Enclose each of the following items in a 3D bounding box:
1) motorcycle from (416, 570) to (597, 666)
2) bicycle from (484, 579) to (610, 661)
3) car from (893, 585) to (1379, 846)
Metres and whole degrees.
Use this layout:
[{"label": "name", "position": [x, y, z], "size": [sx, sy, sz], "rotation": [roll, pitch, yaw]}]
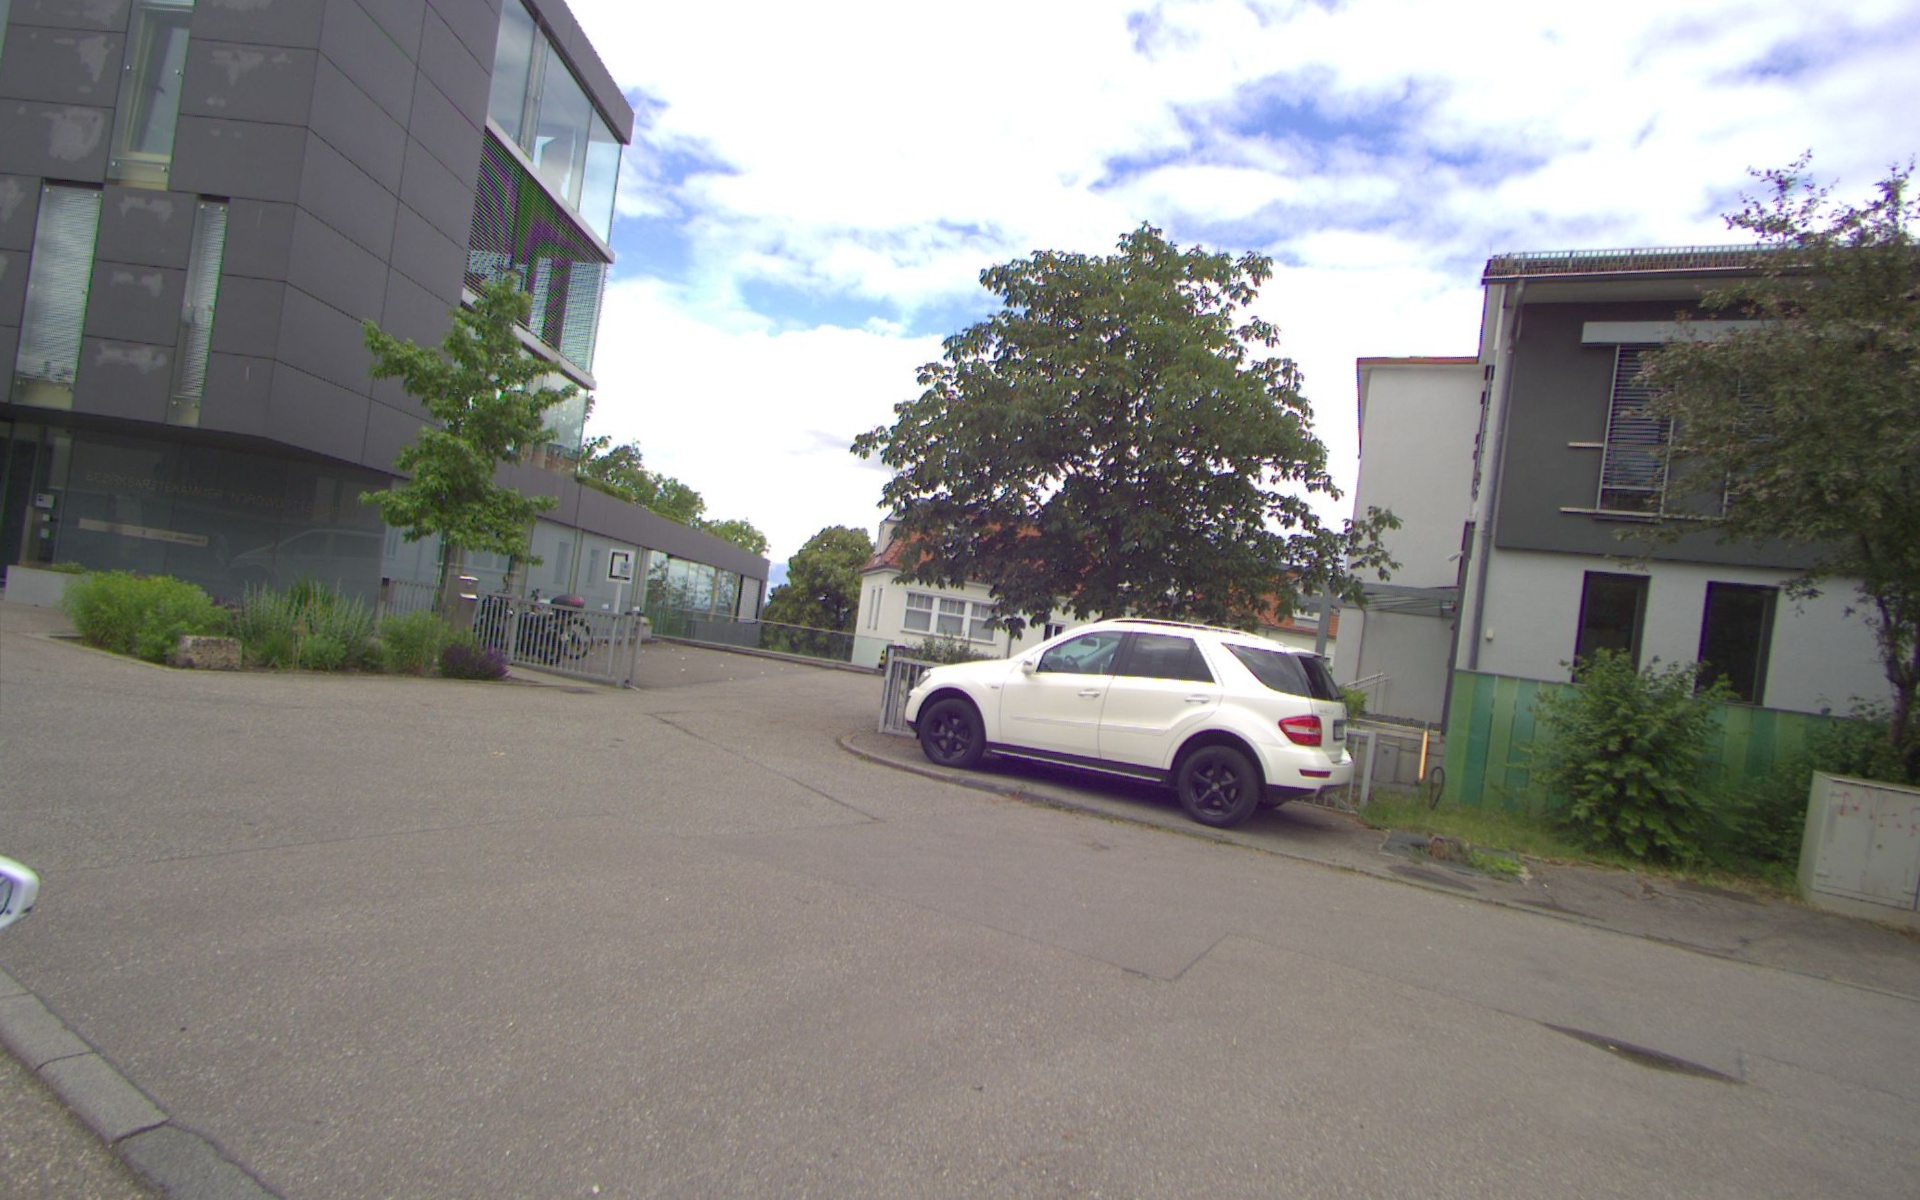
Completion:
[{"label": "motorcycle", "position": [-7.848, 0.314, 17.467], "size": [2.643, 1.275, 0.849], "rotation": [8, -1, 5]}, {"label": "bicycle", "position": [-7.959, 0.393, 19.418], "size": [2.063, 1.275, 0.616], "rotation": [8, -1, 5]}, {"label": "car", "position": [1.770, 1.035, 10.518], "size": [4.442, 1.860, 1.996], "rotation": [6, 0, 31]}]
